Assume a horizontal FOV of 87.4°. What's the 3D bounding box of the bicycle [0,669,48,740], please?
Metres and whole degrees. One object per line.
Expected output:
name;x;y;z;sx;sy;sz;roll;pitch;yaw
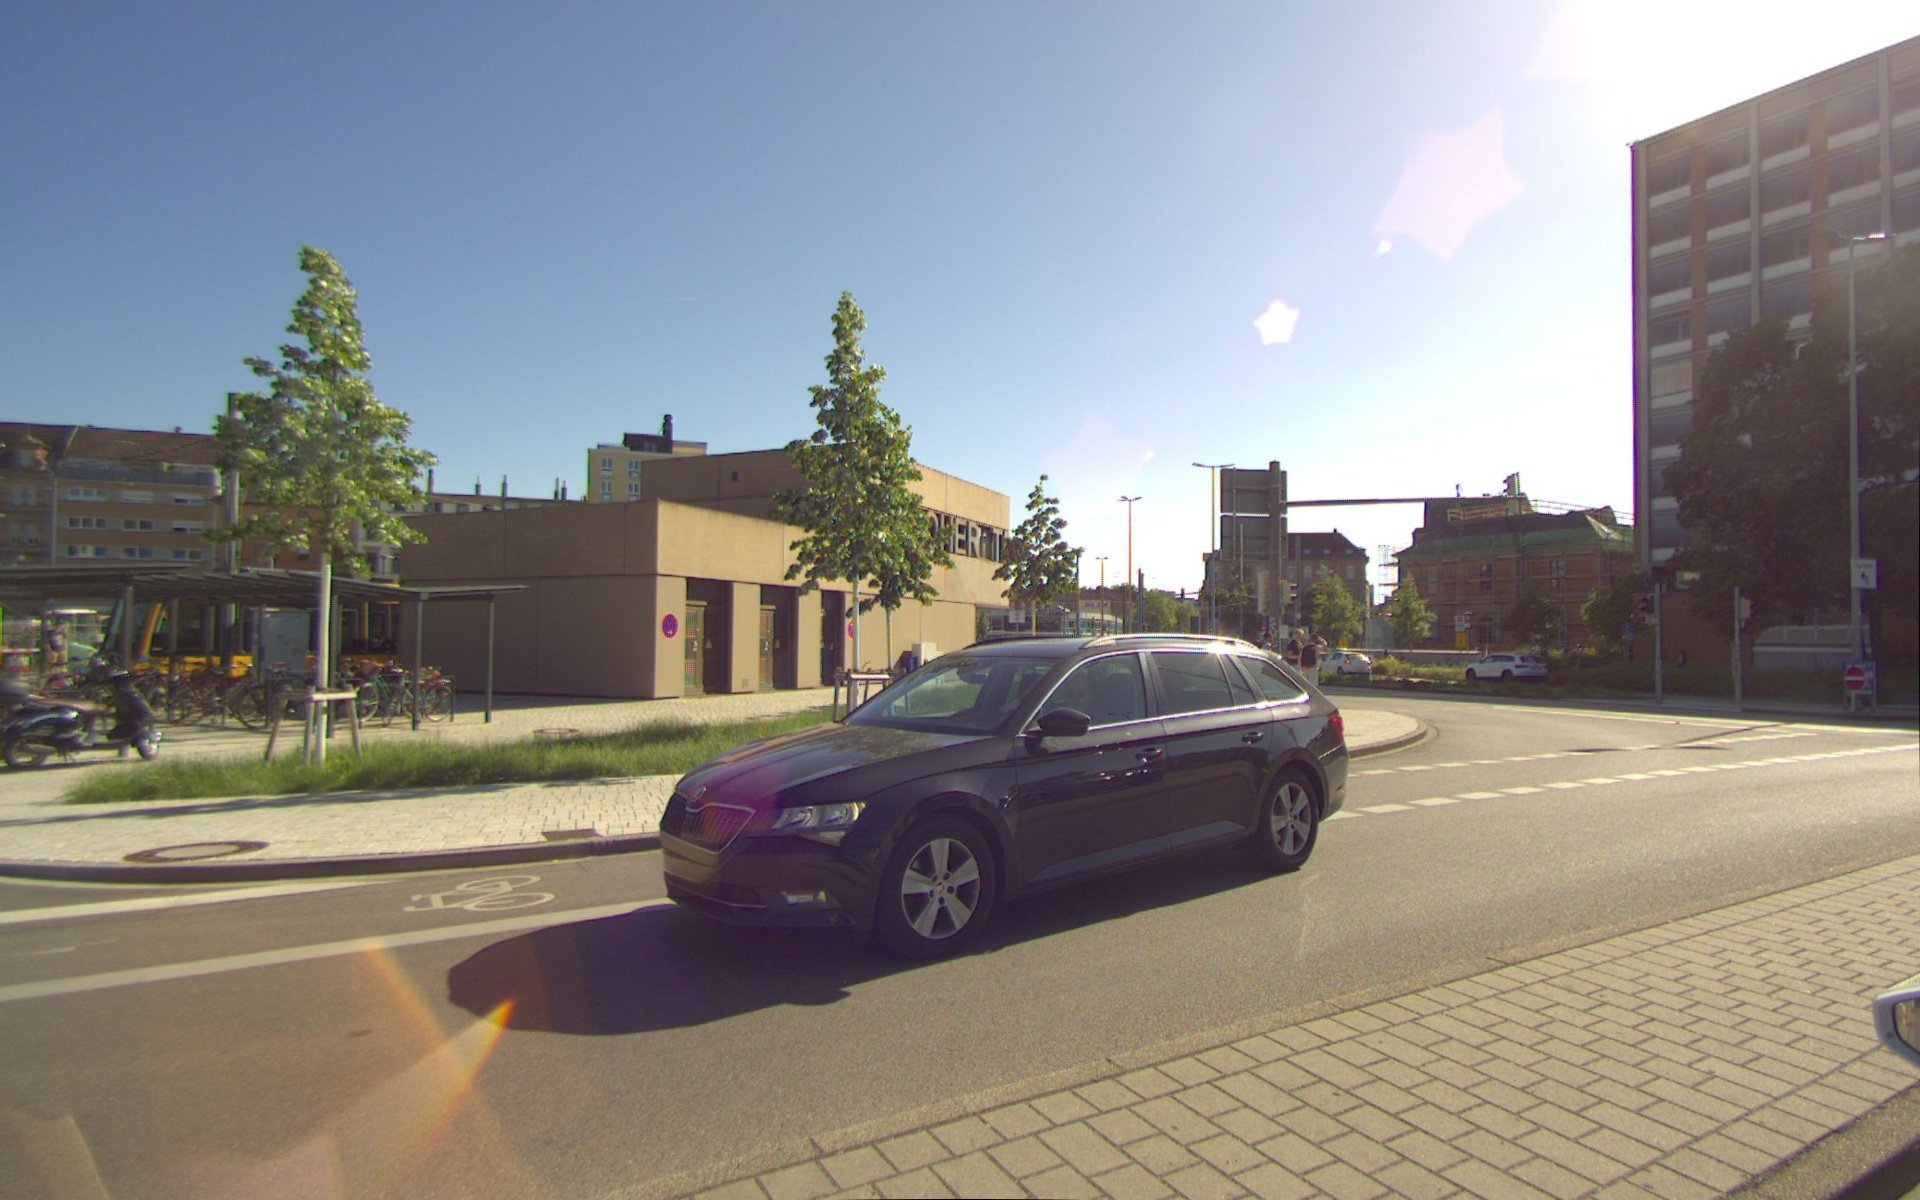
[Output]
bicycle;-14.199;1.525;14.374;0.399;0.985;1.683;2;0;22

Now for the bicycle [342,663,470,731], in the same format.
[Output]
bicycle;-9.966;1.720;18.160;0.524;1.051;2.070;2;0;26

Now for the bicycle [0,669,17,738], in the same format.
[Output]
bicycle;-14.717;1.540;14.424;0.399;0.985;1.683;2;0;22

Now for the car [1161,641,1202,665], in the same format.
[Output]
car;16.521;3.939;75.124;1.809;1.653;4.386;1;-2;-4

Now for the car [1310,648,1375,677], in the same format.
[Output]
car;21.213;3.448;55.870;1.711;1.454;3.844;1;-2;-9

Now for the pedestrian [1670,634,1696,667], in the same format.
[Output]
pedestrian;35.504;2.482;49.333;0.549;1.591;0.862;0;-4;-6

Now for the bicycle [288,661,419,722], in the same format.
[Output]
bicycle;-11.762;1.749;19.571;0.679;1.011;2.140;2;0;26

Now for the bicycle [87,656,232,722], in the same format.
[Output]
bicycle;-15.016;1.640;18.904;0.524;1.051;2.070;5;1;26

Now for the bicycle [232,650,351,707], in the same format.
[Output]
bicycle;-13.916;1.615;20.992;0.524;1.051;2.070;2;0;26

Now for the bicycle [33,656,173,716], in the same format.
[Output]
bicycle;-16.882;1.677;19.848;0.524;1.051;2.070;-2;-2;26

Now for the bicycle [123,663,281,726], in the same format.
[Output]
bicycle;-13.708;1.677;18.260;0.673;0.956;2.233;2;0;25

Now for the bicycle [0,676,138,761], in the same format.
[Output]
bicycle;-12.201;1.573;13.577;0.399;0.985;1.683;2;0;22

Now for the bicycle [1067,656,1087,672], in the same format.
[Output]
bicycle;6.698;3.680;57.580;0.674;0.930;1.989;1;-4;-8

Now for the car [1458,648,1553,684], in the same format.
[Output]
car;27.776;3.354;51.341;1.810;1.653;4.834;1;-2;-7

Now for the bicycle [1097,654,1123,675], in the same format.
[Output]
bicycle;7.392;3.198;49.575;0.727;1.008;1.989;1;-4;-8

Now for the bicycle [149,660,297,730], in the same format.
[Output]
bicycle;-12.897;1.629;17.656;0.524;1.051;2.070;2;0;26

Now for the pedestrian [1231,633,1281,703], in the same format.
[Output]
pedestrian;7.526;1.729;25.524;0.831;1.711;0.896;5;-5;-34

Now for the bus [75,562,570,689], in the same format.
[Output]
bus;-18.468;0.868;31.279;2.810;3.112;13.620;0;-2;25

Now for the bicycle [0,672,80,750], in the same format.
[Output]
bicycle;-13.229;1.543;13.812;0.399;0.985;1.683;2;0;22

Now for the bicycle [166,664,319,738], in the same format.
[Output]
bicycle;-11.969;1.653;16.847;0.524;1.051;2.070;2;0;26

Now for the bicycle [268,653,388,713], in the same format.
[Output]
bicycle;-12.742;1.647;20.327;0.524;1.051;2.070;2;0;26

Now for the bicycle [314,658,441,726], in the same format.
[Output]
bicycle;-10.796;1.683;18.698;0.594;1.093;2.053;2;0;25

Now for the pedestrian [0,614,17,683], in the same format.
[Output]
pedestrian;-27.287;1.365;28.285;0.755;1.942;0.803;0;-2;23

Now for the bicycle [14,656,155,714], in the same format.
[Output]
bicycle;-17.771;1.697;20.456;0.524;1.051;2.070;5;0;26

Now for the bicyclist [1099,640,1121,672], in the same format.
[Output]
bicyclist;7.400;2.769;49.597;0.728;1.519;1.071;1;-4;-11

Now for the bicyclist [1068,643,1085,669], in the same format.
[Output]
bicyclist;6.703;3.223;57.608;0.675;1.440;1.126;1;-4;-10

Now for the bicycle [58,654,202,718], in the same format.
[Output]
bicycle;-15.901;1.623;19.319;0.524;1.051;2.070;5;1;26

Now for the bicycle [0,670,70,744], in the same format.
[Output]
bicycle;-13.695;1.531;14.173;0.399;0.985;1.683;2;0;22

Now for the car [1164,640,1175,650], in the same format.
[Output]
car;44.343;9.551;212.412;1.959;2.040;4.003;0;-2;7

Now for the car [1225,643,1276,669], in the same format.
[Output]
car;20.039;3.840;69.432;1.810;1.653;4.382;1;-2;-8

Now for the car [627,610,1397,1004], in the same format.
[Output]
car;0.620;0.921;6.147;4.745;1.524;1.799;2;-4;-40

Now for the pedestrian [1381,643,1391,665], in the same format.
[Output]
pedestrian;32.519;4.102;76.678;0.636;1.637;0.548;0;-2;10

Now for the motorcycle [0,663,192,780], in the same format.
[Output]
motorcycle;-10.848;1.446;12.475;0.558;1.235;2.087;0;-1;21

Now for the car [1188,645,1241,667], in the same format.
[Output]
car;17.269;3.765;68.325;1.810;1.406;4.895;1;-2;-8

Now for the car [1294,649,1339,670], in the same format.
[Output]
car;25.770;4.272;72.682;1.709;1.454;3.848;0;-2;-3

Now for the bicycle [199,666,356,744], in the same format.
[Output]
bicycle;-10.902;1.649;16.132;0.524;1.051;2.070;2;0;26

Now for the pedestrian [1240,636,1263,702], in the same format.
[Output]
pedestrian;7.840;1.843;27.032;0.585;1.751;0.580;0;-2;14

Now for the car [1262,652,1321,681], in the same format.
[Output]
car;20.699;4.134;62.888;1.810;1.653;4.382;1;-2;-8

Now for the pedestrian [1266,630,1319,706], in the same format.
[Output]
pedestrian;8.168;1.681;24.687;1.089;1.822;0.700;4;-5;-28

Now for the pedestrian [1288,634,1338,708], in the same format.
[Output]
pedestrian;8.382;1.697;23.871;0.779;1.711;0.790;4;-5;-27
